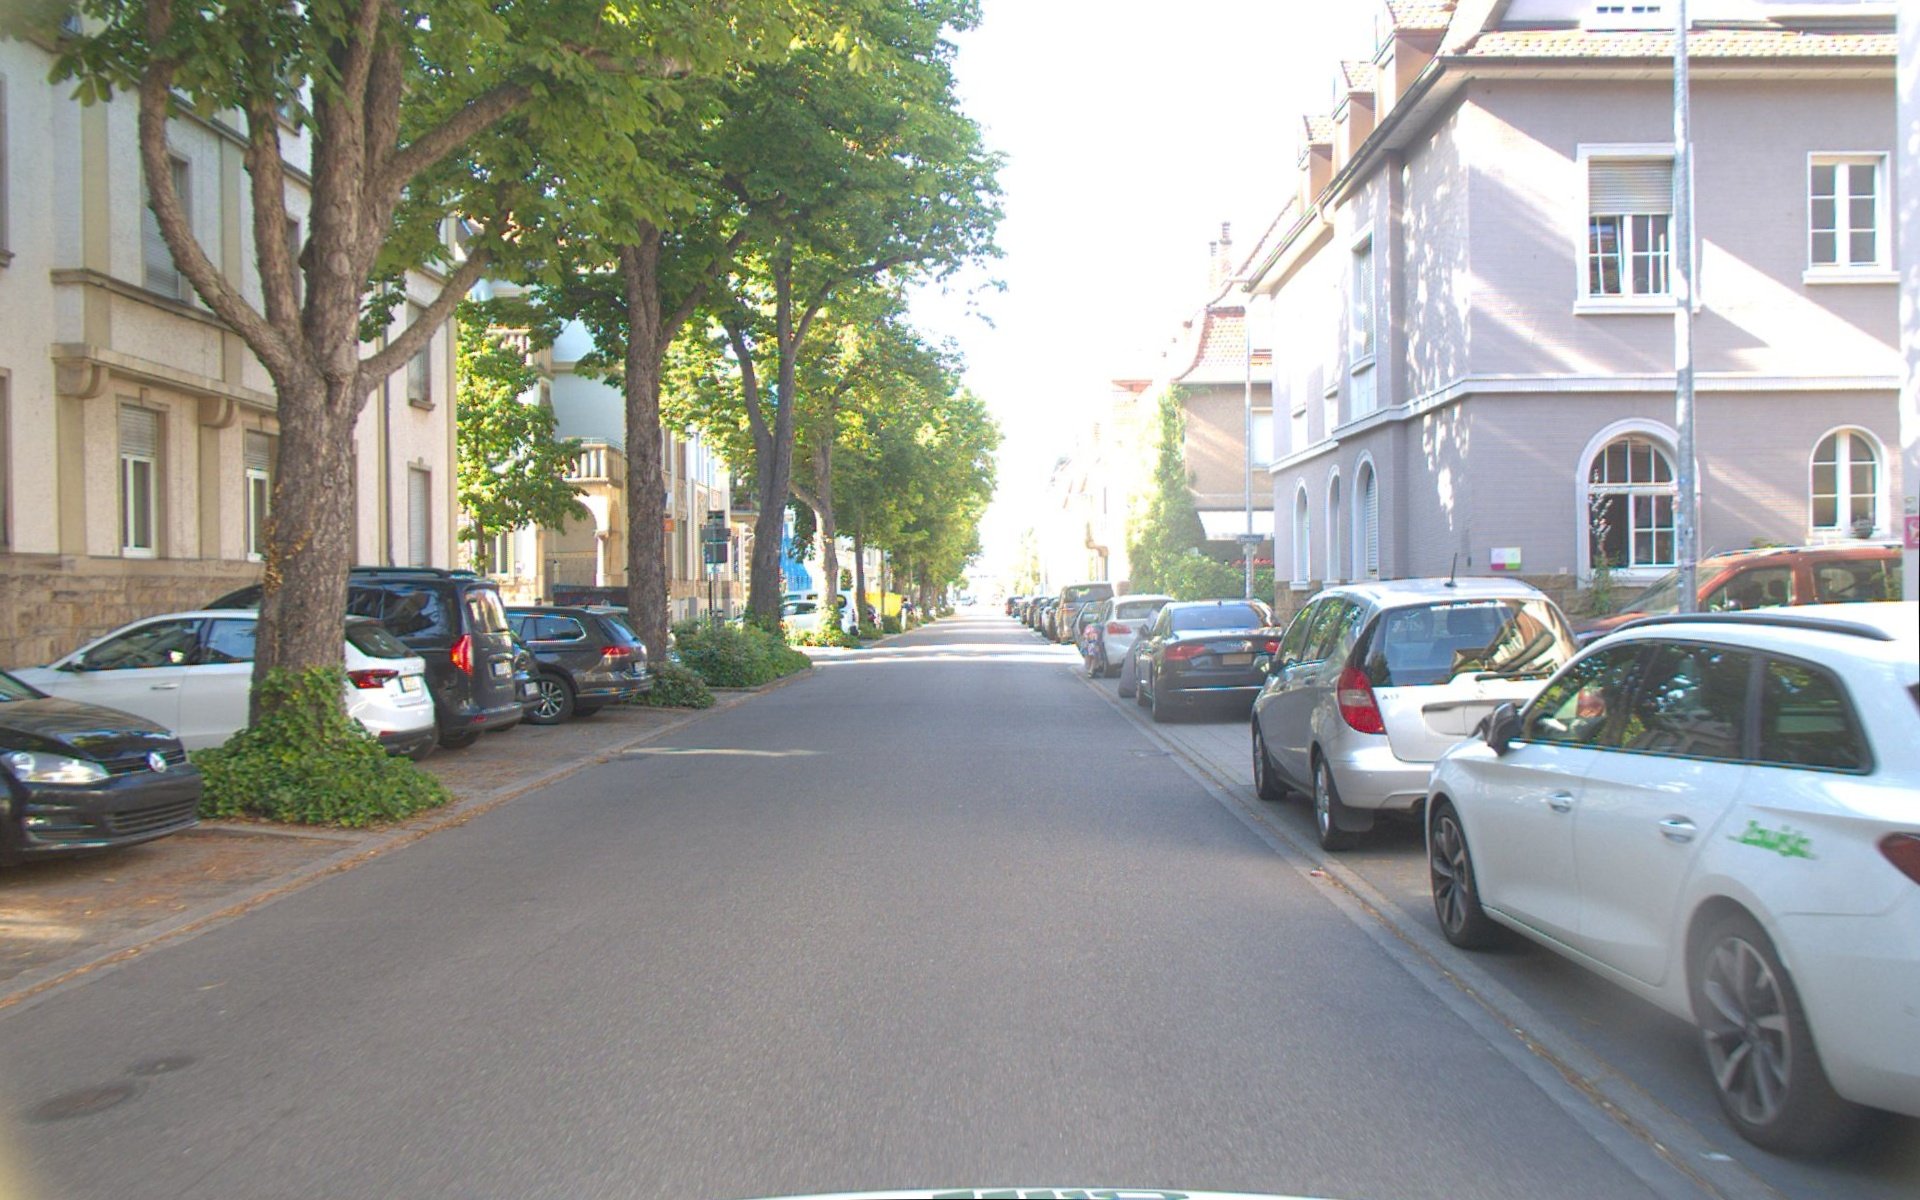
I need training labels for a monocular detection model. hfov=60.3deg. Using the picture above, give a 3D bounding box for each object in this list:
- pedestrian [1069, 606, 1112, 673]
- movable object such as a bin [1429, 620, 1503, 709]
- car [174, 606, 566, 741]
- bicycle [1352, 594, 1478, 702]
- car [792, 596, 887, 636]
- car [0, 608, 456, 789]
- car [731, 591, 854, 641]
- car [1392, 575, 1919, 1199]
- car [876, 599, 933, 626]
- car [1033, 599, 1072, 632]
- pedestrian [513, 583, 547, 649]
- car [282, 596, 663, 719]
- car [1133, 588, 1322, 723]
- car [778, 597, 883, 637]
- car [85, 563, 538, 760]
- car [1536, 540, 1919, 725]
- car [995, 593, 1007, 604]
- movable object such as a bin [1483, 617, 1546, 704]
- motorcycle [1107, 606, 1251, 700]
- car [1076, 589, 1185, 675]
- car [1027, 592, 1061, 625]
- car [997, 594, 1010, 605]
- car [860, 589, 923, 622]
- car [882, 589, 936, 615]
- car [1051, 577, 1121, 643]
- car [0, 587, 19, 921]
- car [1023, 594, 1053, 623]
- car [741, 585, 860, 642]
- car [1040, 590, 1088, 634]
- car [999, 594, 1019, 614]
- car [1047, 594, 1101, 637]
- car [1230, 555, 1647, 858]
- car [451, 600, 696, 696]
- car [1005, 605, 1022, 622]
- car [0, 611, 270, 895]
[{"bbox_3d":[2.597,0.779,32.929,0.710,1.279,0.645,-1,0,-7],"label":"pedestrian"},{"bbox_3d":[6.321,0.800,20.705,0.634,1.058,0.828,-1,0,-2],"label":"movable object such as a bin"},{"bbox_3d":[-6.748,0.814,19.238,3.899,1.462,1.828,0,0,-2],"label":"car"},{"bbox_3d":[6.132,0.614,22.448,1.060,1.361,2.250,-1,0,0],"label":"bicycle"},{"bbox_3d":[-5.148,0.668,70.317,3.911,1.579,1.834,-1,0,-8],"label":"car"},{"bbox_3d":[-6.650,0.821,14.571,3.907,1.473,1.741,0,0,-3],"label":"car"},{"bbox_3d":[-5.463,0.530,54.297,3.907,1.490,1.797,2,-1,-3],"label":"car"},{"bbox_3d":[2.983,0.663,5.777,1.645,1.483,4.437,-1,0,-2],"label":"car"},{"bbox_3d":[-4.001,0.914,119.151,3.923,1.765,1.895,2,1,3],"label":"car"},{"bbox_3d":[4.262,0.703,76.701,1.734,1.480,3.867,-1,0,2],"label":"car"},{"bbox_3d":[-11.472,0.430,44.150,0.617,1.724,0.653,-2,0,5],"label":"pedestrian"},{"bbox_3d":[-6.287,0.727,21.707,4.439,1.529,1.891,0,0,-1],"label":"car"},{"bbox_3d":[3.401,0.651,21.825,1.816,1.519,4.608,-2,0,2],"label":"car"},{"bbox_3d":[-5.104,0.665,65.389,3.904,1.495,1.864,-1,1,3],"label":"car"},{"bbox_3d":[-6.503,0.595,16.910,3.898,1.888,1.829,0,0,-1],"label":"car"},{"bbox_3d":[8.771,0.348,18.435,4.054,1.875,1.765,-2,-1,0],"label":"car"},{"bbox_3d":[5.949,-0.198,241.644,1.734,1.660,3.867,-1,0,2],"label":"car"},{"bbox_3d":[6.986,0.756,20.858,0.557,1.058,0.618,-1,0,-2],"label":"movable object such as a bin"},{"bbox_3d":[3.454,0.821,26.012,2.146,1.362,0.922,2,1,11],"label":"motorcycle"},{"bbox_3d":[3.422,0.616,33.826,1.665,1.566,4.154,-3,0,-1],"label":"car"},{"bbox_3d":[4.435,0.436,87.781,1.734,1.660,3.867,-1,0,2],"label":"car"},{"bbox_3d":[6.141,-0.079,234.079,1.734,1.660,3.867,-1,0,2],"label":"car"},{"bbox_3d":[-4.435,0.352,107.114,3.911,2.049,1.997,-1,0,-8],"label":"car"},{"bbox_3d":[-3.916,0.116,127.842,3.923,1.873,2.001,2,1,3],"label":"car"},{"bbox_3d":[3.994,0.308,53.168,1.865,1.903,4.674,-3,0,1],"label":"car"},{"bbox_3d":[-6.605,0.735,7.220,3.905,1.620,1.859,0,0,0],"label":"car"},{"bbox_3d":[4.703,0.501,100.284,1.734,1.660,3.867,-1,0,2],"label":"car"},{"bbox_3d":[-5.421,0.459,56.494,3.907,1.791,1.797,2,-1,-3],"label":"car"},{"bbox_3d":[4.096,0.453,65.610,1.752,1.646,3.867,-1,0,2],"label":"car"},{"bbox_3d":[4.227,0.353,142.418,1.734,1.660,3.867,-1,0,2],"label":"car"},{"bbox_3d":[4.102,0.528,59.875,1.656,1.423,3.806,-3,0,1],"label":"car"},{"bbox_3d":[3.053,0.571,11.428,1.752,1.628,4.001,-3,1,2],"label":"car"},{"bbox_3d":[-6.256,0.762,27.019,3.599,1.513,1.641,0,0,0],"label":"car"},{"bbox_3d":[5.553,1.366,171.213,1.734,1.660,3.867,-1,0,2],"label":"car"},{"bbox_3d":[-6.408,0.806,9.820,3.820,1.471,1.860,0,0,5],"label":"car"}]
